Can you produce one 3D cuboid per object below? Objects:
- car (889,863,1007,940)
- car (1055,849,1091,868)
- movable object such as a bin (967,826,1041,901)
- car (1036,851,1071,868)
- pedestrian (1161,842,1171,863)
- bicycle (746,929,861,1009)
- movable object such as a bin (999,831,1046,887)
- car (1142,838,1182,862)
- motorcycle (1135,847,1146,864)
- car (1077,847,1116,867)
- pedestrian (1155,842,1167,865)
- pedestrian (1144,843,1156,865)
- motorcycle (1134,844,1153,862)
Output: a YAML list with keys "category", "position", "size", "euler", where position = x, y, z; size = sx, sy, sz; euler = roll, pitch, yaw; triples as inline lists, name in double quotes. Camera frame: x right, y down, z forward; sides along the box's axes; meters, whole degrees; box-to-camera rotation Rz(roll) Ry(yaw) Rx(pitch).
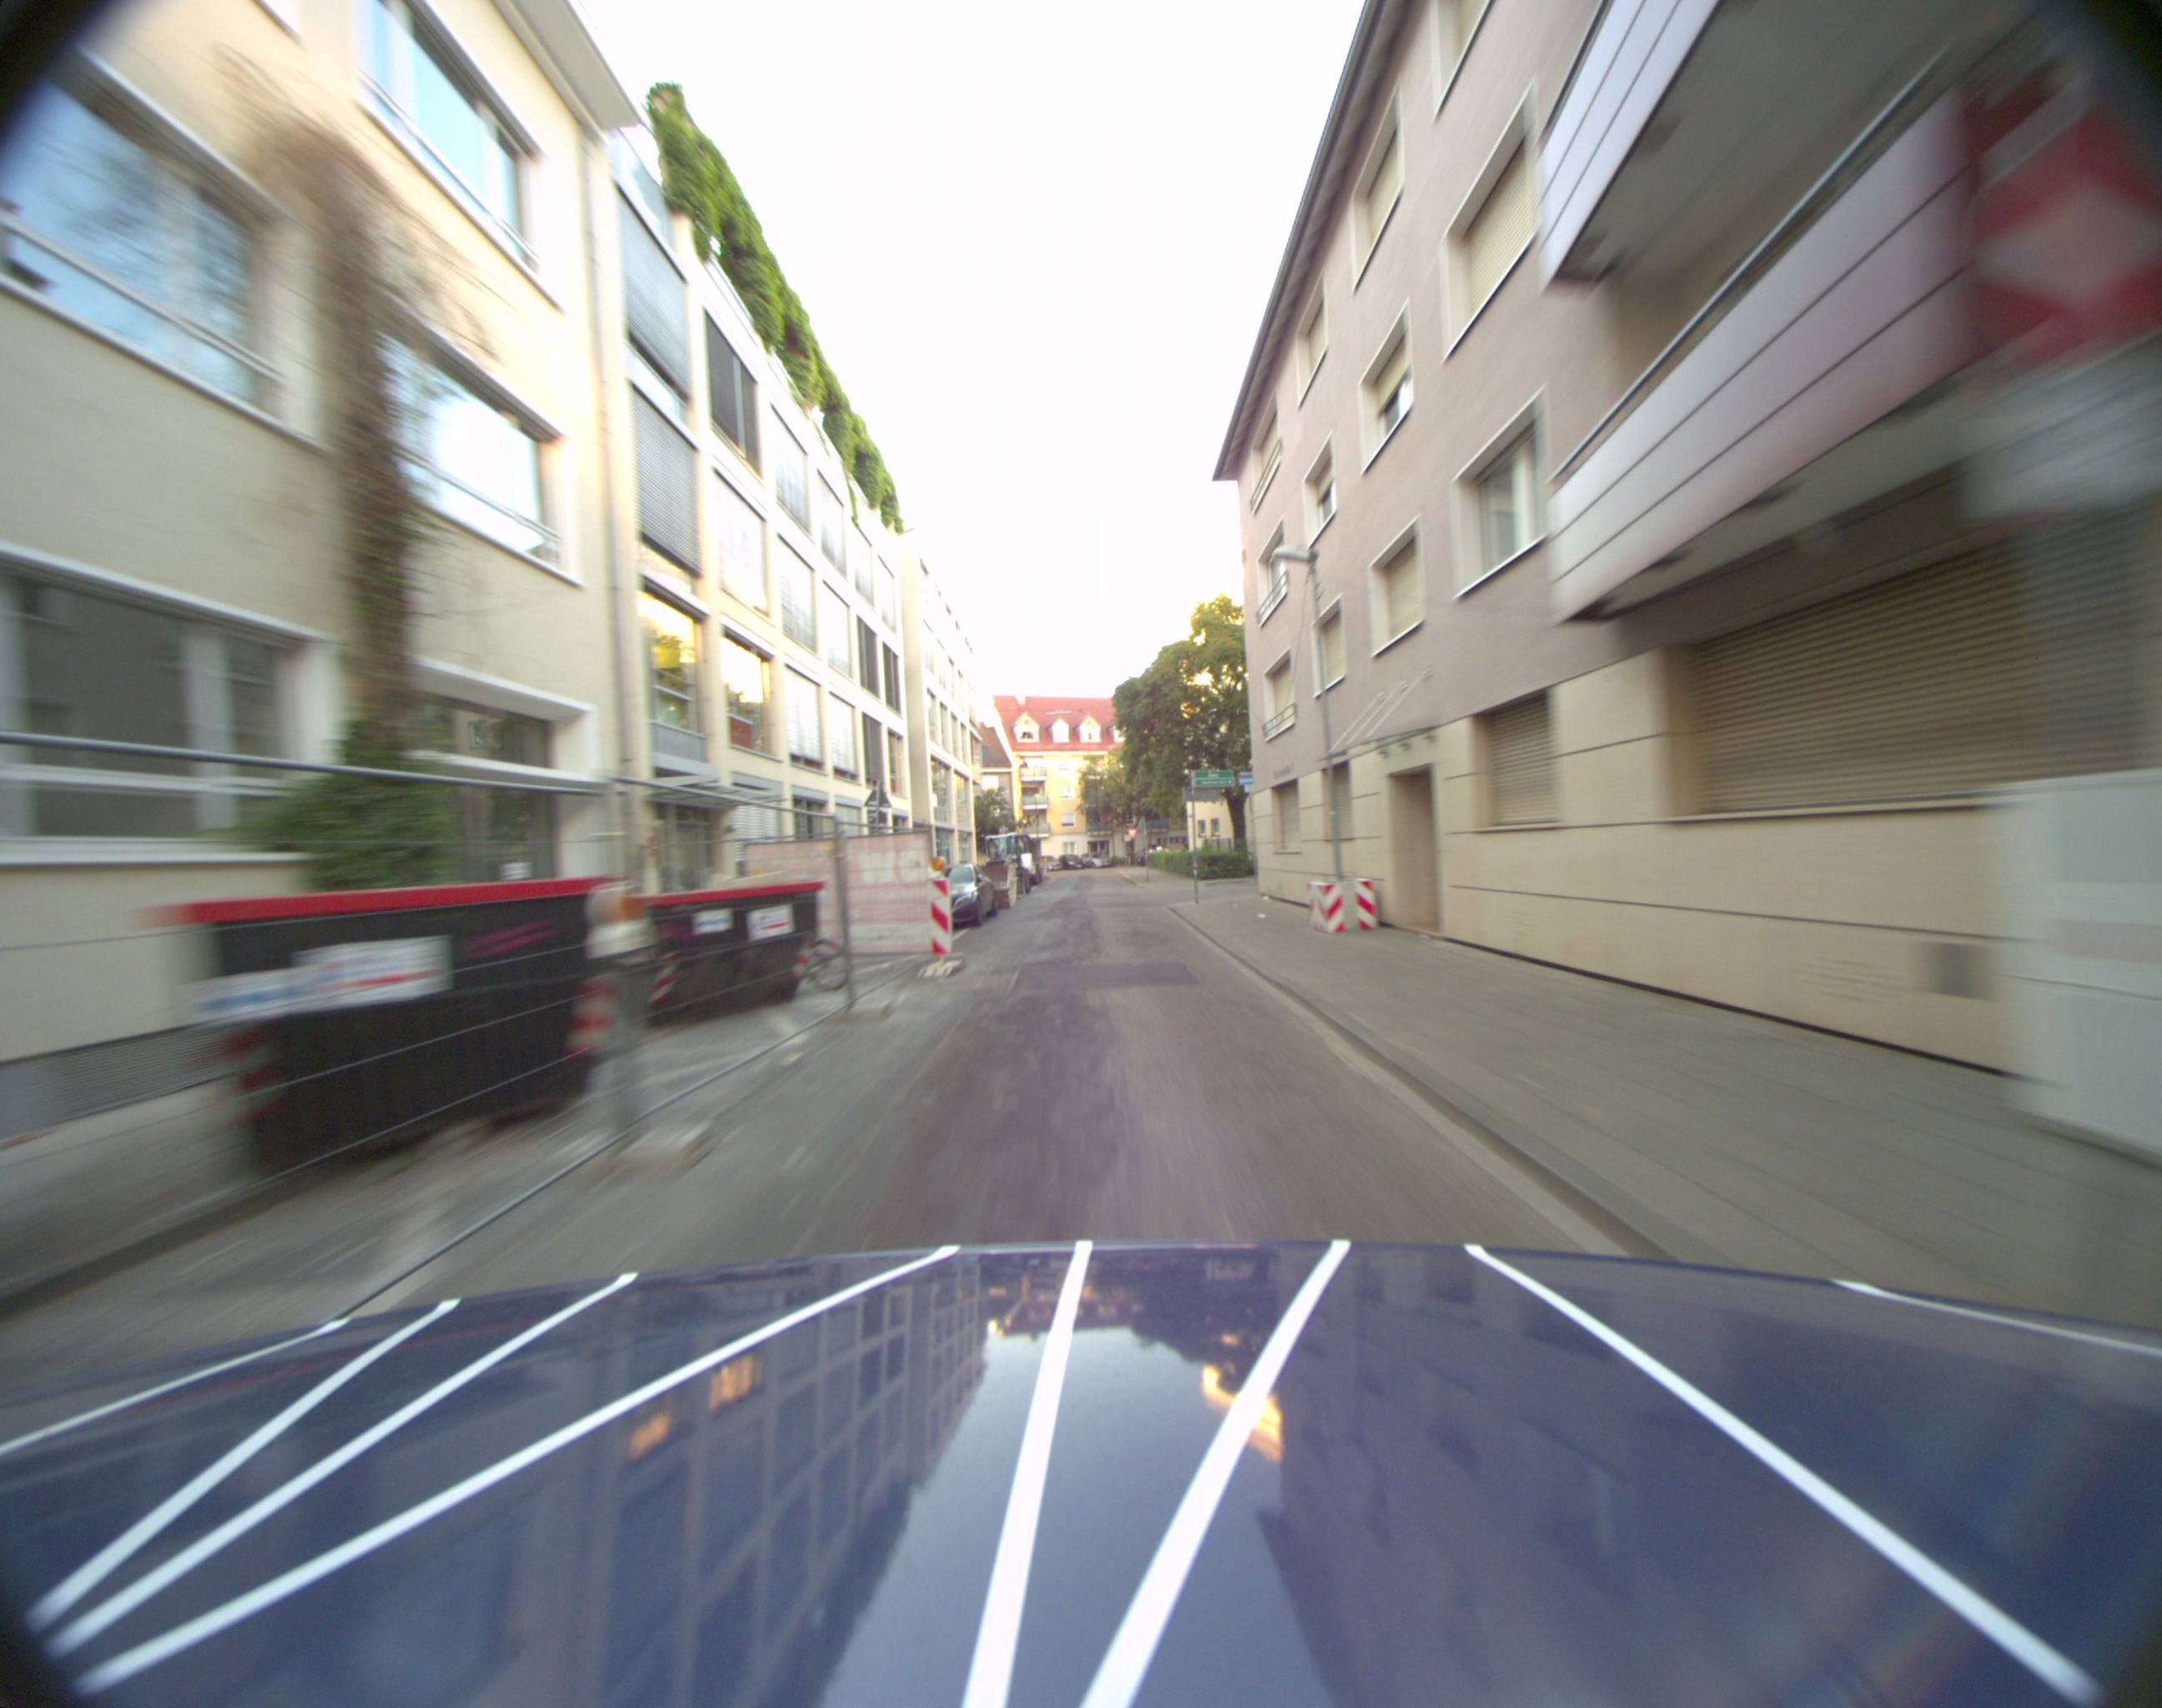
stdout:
- category: "car"
  position: [-2.971, 1.006, 17.915]
  size: [1.697, 1.398, 4.480]
  euler: [-4, 0, 3]
- category: "car"
  position: [-0.802, 0.440, 72.716]
  size: [1.855, 1.554, 4.073]
  euler: [-4, 0, -24]
- category: "movable object such as a bin"
  position: [-2.953, 0.314, 30.369]
  size: [2.172, 2.581, 5.542]
  euler: [-4, 1, 1]
- category: "car"
  position: [-2.641, 0.542, 71.908]
  size: [1.874, 1.499, 4.286]
  euler: [-4, 0, -23]
- category: "pedestrian"
  position: [6.615, -0.118, 59.315]
  size: [0.448, 1.563, 0.660]
  euler: [-4, 1, -17]
- category: "bicycle"
  position: [-3.458, 1.413, 9.437]
  size: [1.488, 0.892, 0.398]
  euler: [-4, 0, 29]
- category: "movable object such as a bin"
  position: [-2.949, 0.214, 39.068]
  size: [1.800, 2.619, 4.111]
  euler: [-3, 1, 3]
- category: "car"
  position: [8.071, -0.457, 76.199]
  size: [2.038, 2.122, 4.624]
  euler: [-4, 4, -22]
- category: "motorcycle"
  position: [4.905, 0.091, 62.602]
  size: [0.722, 1.366, 2.226]
  euler: [-3, 0, 9]
- category: "car"
  position: [1.473, 0.292, 74.041]
  size: [1.838, 1.694, 4.803]
  euler: [-4, 0, -24]
- category: "pedestrian"
  position: [6.353, -0.015, 60.470]
  size: [0.666, 1.777, 0.698]
  euler: [-4, 0, -17]
- category: "pedestrian"
  position: [5.524, -0.002, 60.857]
  size: [0.697, 1.777, 0.530]
  euler: [-3, 0, 28]
- category: "motorcycle"
  position: [5.390, -0.064, 65.458]
  size: [0.692, 1.485, 2.221]
  euler: [-4, 0, -20]
